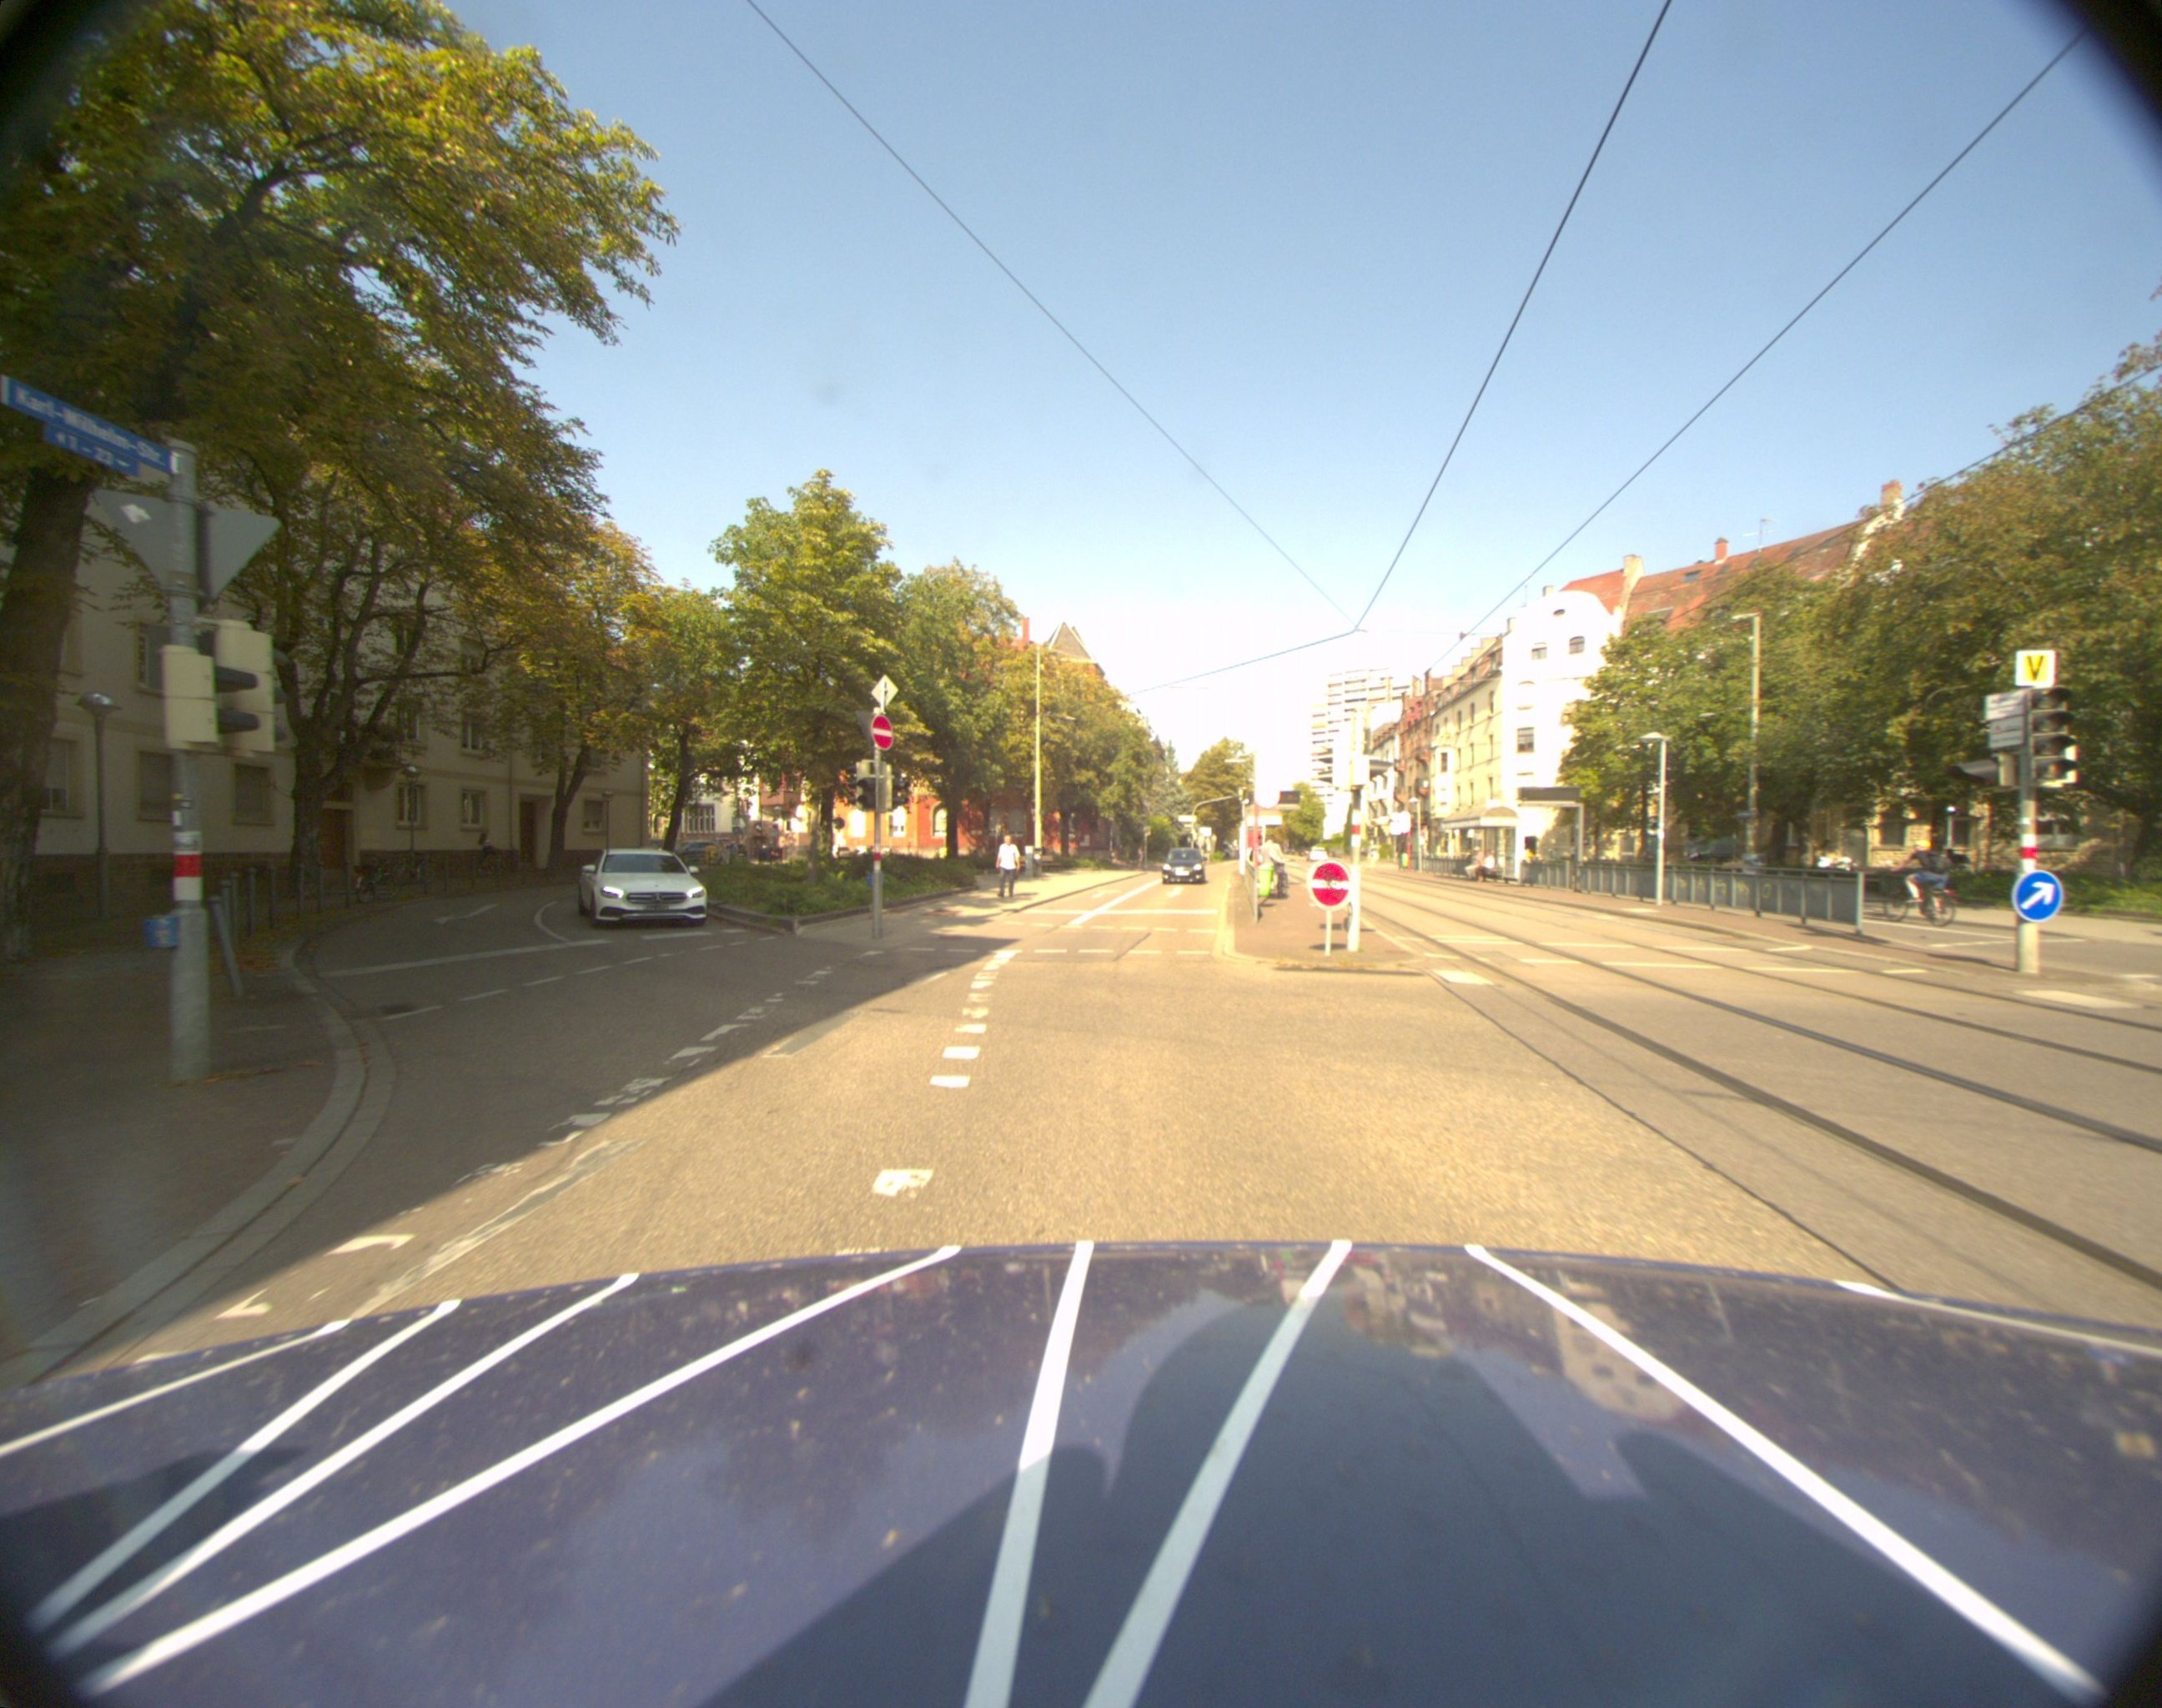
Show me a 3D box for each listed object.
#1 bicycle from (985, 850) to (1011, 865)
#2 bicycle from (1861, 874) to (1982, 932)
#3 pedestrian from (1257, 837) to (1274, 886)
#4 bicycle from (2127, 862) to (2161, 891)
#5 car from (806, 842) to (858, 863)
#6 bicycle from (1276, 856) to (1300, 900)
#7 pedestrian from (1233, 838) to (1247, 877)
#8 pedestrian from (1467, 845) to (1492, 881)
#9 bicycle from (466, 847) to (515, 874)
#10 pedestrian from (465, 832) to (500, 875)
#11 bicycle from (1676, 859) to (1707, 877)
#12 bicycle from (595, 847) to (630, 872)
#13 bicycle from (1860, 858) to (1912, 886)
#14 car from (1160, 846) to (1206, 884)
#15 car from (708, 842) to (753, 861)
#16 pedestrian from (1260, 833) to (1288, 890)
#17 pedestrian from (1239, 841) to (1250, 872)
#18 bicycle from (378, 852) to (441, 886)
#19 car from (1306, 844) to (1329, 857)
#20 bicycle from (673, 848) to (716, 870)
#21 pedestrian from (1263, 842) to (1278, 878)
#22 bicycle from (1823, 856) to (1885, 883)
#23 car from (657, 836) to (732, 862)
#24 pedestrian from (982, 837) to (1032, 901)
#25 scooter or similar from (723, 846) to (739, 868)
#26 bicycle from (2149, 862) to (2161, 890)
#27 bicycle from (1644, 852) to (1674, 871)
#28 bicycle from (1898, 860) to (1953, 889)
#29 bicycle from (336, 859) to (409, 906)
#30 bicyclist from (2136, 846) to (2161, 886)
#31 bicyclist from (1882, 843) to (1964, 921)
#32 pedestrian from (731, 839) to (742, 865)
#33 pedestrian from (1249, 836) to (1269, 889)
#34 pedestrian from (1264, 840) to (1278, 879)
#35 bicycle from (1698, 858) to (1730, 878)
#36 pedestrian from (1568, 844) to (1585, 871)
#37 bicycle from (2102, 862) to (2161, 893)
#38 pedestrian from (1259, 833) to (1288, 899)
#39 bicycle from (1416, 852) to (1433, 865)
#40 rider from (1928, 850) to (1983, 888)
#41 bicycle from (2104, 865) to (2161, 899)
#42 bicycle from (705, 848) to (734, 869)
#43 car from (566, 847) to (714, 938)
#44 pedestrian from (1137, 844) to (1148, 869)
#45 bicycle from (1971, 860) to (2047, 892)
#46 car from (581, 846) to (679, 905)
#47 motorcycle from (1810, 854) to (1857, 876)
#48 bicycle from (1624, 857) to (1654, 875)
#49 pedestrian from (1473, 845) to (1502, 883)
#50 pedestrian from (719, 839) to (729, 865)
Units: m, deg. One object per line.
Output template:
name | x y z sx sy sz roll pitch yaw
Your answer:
bicycle | -6.049 0.279 55.561 1.843 1.052 0.607 -2 -1 -37
bicycle | 18.047 1.014 16.397 0.685 1.097 2.071 1 1 14
pedestrian | 6.778 0.268 27.942 0.553 1.750 0.534 1 1 10
bicycle | 41.646 0.887 28.931 0.655 1.097 2.335 1 1 9
car | -19.205 -0.129 58.605 3.988 1.558 1.625 1 1 33
bicycle | 5.597 0.623 20.515 0.473 1.097 1.740 1 1 20
pedestrian | 7.512 0.156 35.902 0.637 1.837 0.634 1 1 14
pedestrian | 16.071 0.351 30.656 0.678 1.448 0.719 1 1 12
bicycle | -23.187 0.250 29.879 0.534 1.001 1.908 0 1 -3
pedestrian | -23.386 -0.017 29.688 0.687 1.662 0.866 1 1 -1
bicycle | 37.353 0.822 46.490 2.345 1.073 0.695 0 1 -31
bicycle | -21.262 0.238 34.506 0.416 1.054 1.489 1 2 15
bicycle | 40.638 0.915 38.347 2.305 1.363 0.866 0 1 -17
car | 4.309 0.414 31.793 1.774 1.459 4.003 0 1 10
car | -30.135 -0.229 65.391 3.988 1.558 1.625 1 1 33
pedestrian | 6.029 0.217 23.764 0.769 1.750 0.681 1 1 10
pedestrian | 9.611 0.120 44.707 0.559 1.792 0.677 1 1 15
bicycle | -21.107 0.448 23.915 0.534 1.001 1.907 0 1 -9
car | 26.350 -0.371 84.893 1.732 1.426 3.923 1 1 6
bicycle | -19.706 0.249 38.733 1.868 1.052 0.608 0 1 2
pedestrian | 8.277 0.252 33.175 0.590 1.536 0.607 1 1 14
bicycle | 40.302 0.813 39.650 2.301 1.363 0.867 1 1 1
car | -25.644 -0.329 50.543 1.658 1.629 4.203 1 1 32
pedestrian | -2.077 0.406 21.483 1.078 1.715 0.970 4 2 10
scooter or similar | -18.831 0.175 40.891 0.443 1.151 1.110 -1 2 -44
bicycle | 42.411 0.882 28.843 0.655 1.097 2.335 1 1 9
bicycle | 36.218 0.466 47.598 2.345 1.073 0.695 -1 2 -31
bicycle | 40.821 0.971 36.744 2.305 1.363 0.866 0 1 -17
bicycle | -16.644 0.658 17.901 0.609 1.052 1.836 0 -1 -21
bicyclist | 36.477 0.403 25.646 0.655 1.352 0.758 0 1 -1
bicyclist | 18.026 0.568 16.295 0.674 1.605 1.045 1 1 13
pedestrian | -23.865 -0.150 52.670 0.656 1.754 0.605 0 1 -27
pedestrian | 6.178 0.280 26.416 0.605 1.796 0.730 1 1 10
pedestrian | 8.443 0.245 33.801 0.590 1.711 0.607 1 1 14
bicycle | 37.384 0.805 44.887 2.345 1.073 0.695 -1 2 -31
pedestrian | 34.762 0.225 53.297 0.734 1.857 0.673 1 1 8
bicycle | 40.891 0.887 29.039 0.773 1.097 2.335 0 1 9
pedestrian | 5.232 0.309 20.641 0.691 1.756 0.797 1 1 10
bicycle | 30.154 0.423 66.784 0.545 1.097 1.896 1 1 -2
rider | 35.425 0.597 30.785 0.996 1.503 1.115 0 1 15
bicycle | 36.475 0.939 25.790 0.655 1.097 2.072 0 1 -1
bicycle | -18.944 0.243 39.782 1.834 1.052 0.610 1 1 38
car | -9.073 0.674 15.405 1.881 1.460 4.939 3 0 -38
pedestrian | 4.167 0.162 51.576 0.542 1.708 0.662 1 1 27
bicycle | 41.415 0.960 33.922 2.302 1.363 0.867 1 1 -1
car | -12.132 0.542 20.682 1.754 1.443 3.881 2 0 -23
motorcycle | 40.162 0.579 40.565 1.883 1.171 0.677 -1 2 -4
bicycle | 35.817 0.756 48.758 2.345 1.073 0.695 -1 2 -31
pedestrian | 15.821 0.380 29.603 0.793 1.448 0.719 1 1 12
pedestrian | -24.915 -0.132 53.071 0.592 1.754 0.605 0 1 -29
